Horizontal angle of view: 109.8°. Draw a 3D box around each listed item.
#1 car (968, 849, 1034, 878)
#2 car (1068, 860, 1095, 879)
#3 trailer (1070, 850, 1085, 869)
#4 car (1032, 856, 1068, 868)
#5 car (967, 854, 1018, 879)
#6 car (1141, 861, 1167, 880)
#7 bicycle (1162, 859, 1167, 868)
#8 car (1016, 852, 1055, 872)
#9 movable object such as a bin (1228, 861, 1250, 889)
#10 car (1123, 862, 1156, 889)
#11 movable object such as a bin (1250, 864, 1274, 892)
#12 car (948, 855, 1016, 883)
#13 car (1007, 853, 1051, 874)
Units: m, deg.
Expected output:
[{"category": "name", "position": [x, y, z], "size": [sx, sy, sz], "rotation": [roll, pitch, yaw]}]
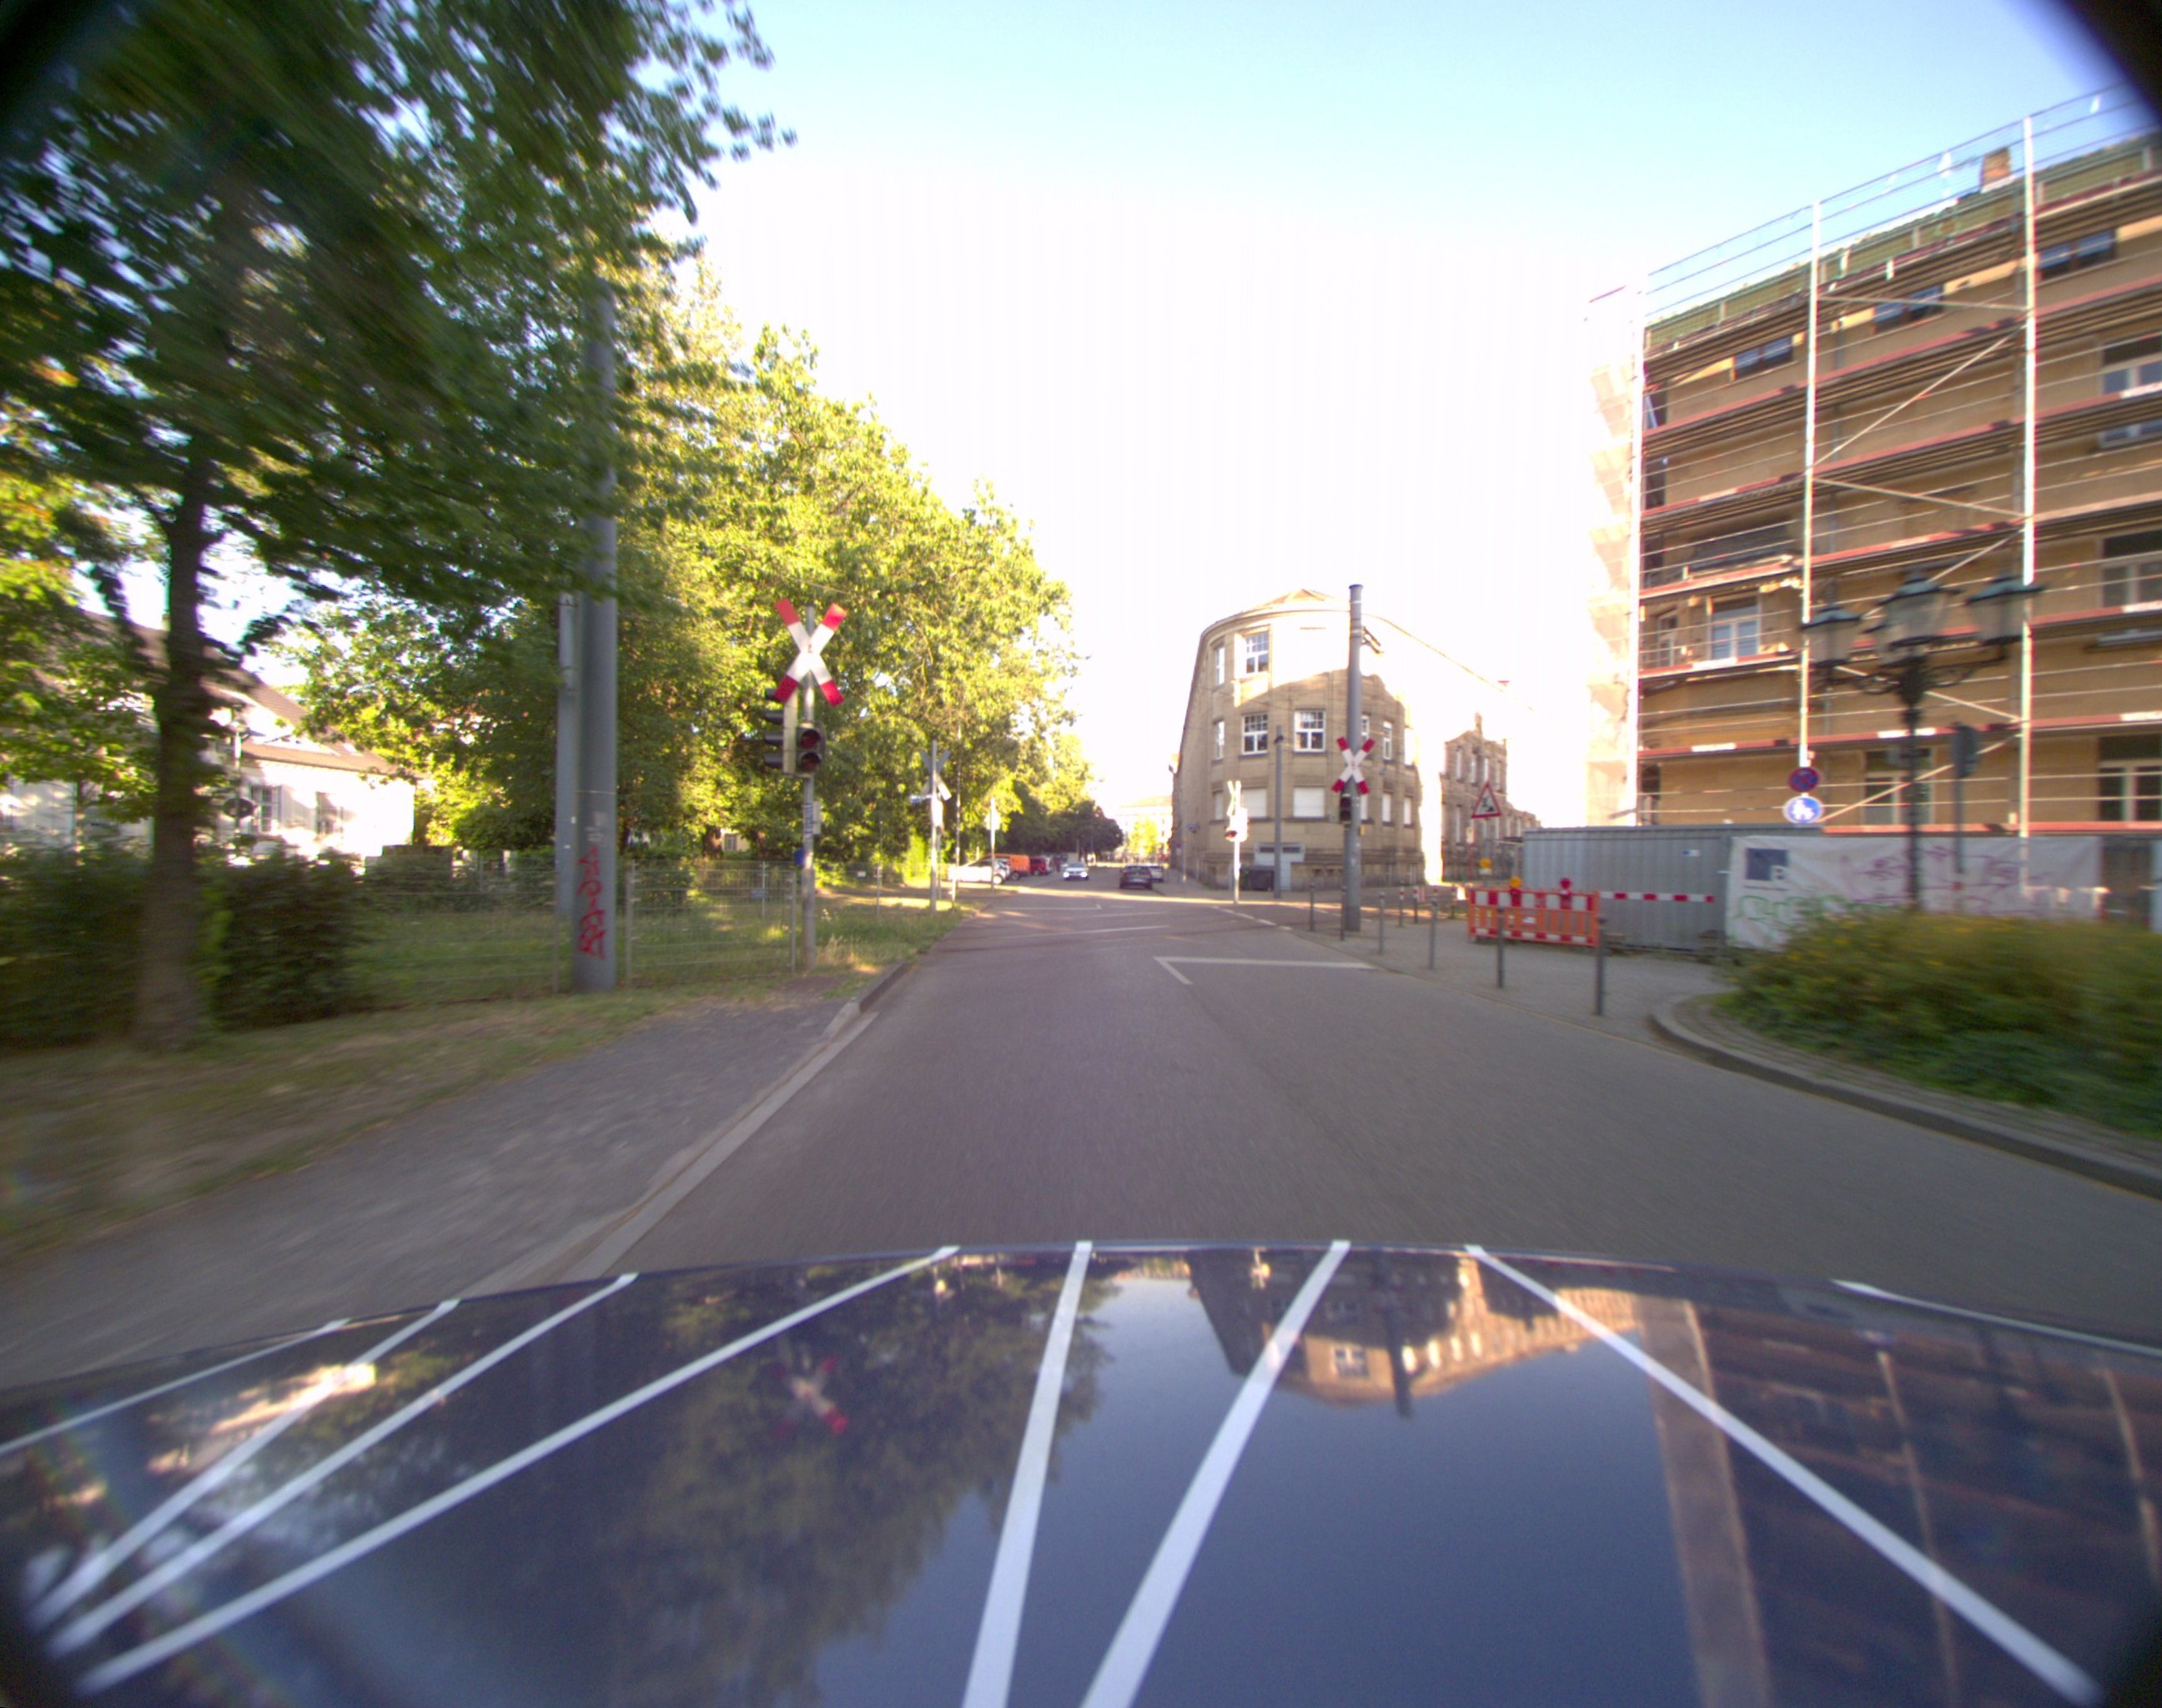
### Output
[{"category": "car", "position": [-6.113, 0.705, 58.747], "size": [4.808, 1.986, 2.081], "rotation": [3, 0, -1]}, {"category": "car", "position": [0.077, 1.220, 62.309], "size": [1.686, 1.444, 4.106], "rotation": [1, 0, 8]}, {"category": "trailer", "position": [-0.488, 0.762, 110.345], "size": [1.600, 2.625, 3.704], "rotation": [1, 0, 7]}, {"category": "car", "position": [-3.998, 1.060, 99.537], "size": [4.440, 1.458, 1.712], "rotation": [1, 0, 6]}, {"category": "car", "position": [-6.487, 0.926, 56.025], "size": [3.404, 1.622, 1.680], "rotation": [3, 0, 3]}, {"category": "car", "position": [5.777, 1.273, 60.387], "size": [1.748, 1.426, 4.561], "rotation": [0, 0, 2]}, {"category": "bicycle", "position": [11.429, 1.350, 104.142], "size": [0.457, 1.202, 1.880], "rotation": [1, 0, 15]}, {"category": "car", "position": [-4.641, 0.817, 78.079], "size": [3.608, 1.873, 1.784], "rotation": [2, 0, 7]}, {"category": "movable object such as a bin", "position": [8.620, 1.146, 41.478], "size": [1.147, 1.477, 1.629], "rotation": [1, 0, 12]}, {"category": "car", "position": [3.280, 1.180, 43.331], "size": [1.747, 1.439, 4.209], "rotation": [1, 0, 3]}, {"category": "movable object such as a bin", "position": [9.541, 1.255, 40.203], "size": [1.184, 1.420, 1.924], "rotation": [1, 0, 12]}, {"category": "car", "position": [-6.192, 0.908, 47.977], "size": [3.997, 1.537, 1.735], "rotation": [3, 0, -1]}, {"category": "car", "position": [-5.107, 0.936, 75.316], "size": [3.978, 1.852, 1.921], "rotation": [2, 0, 8]}]
